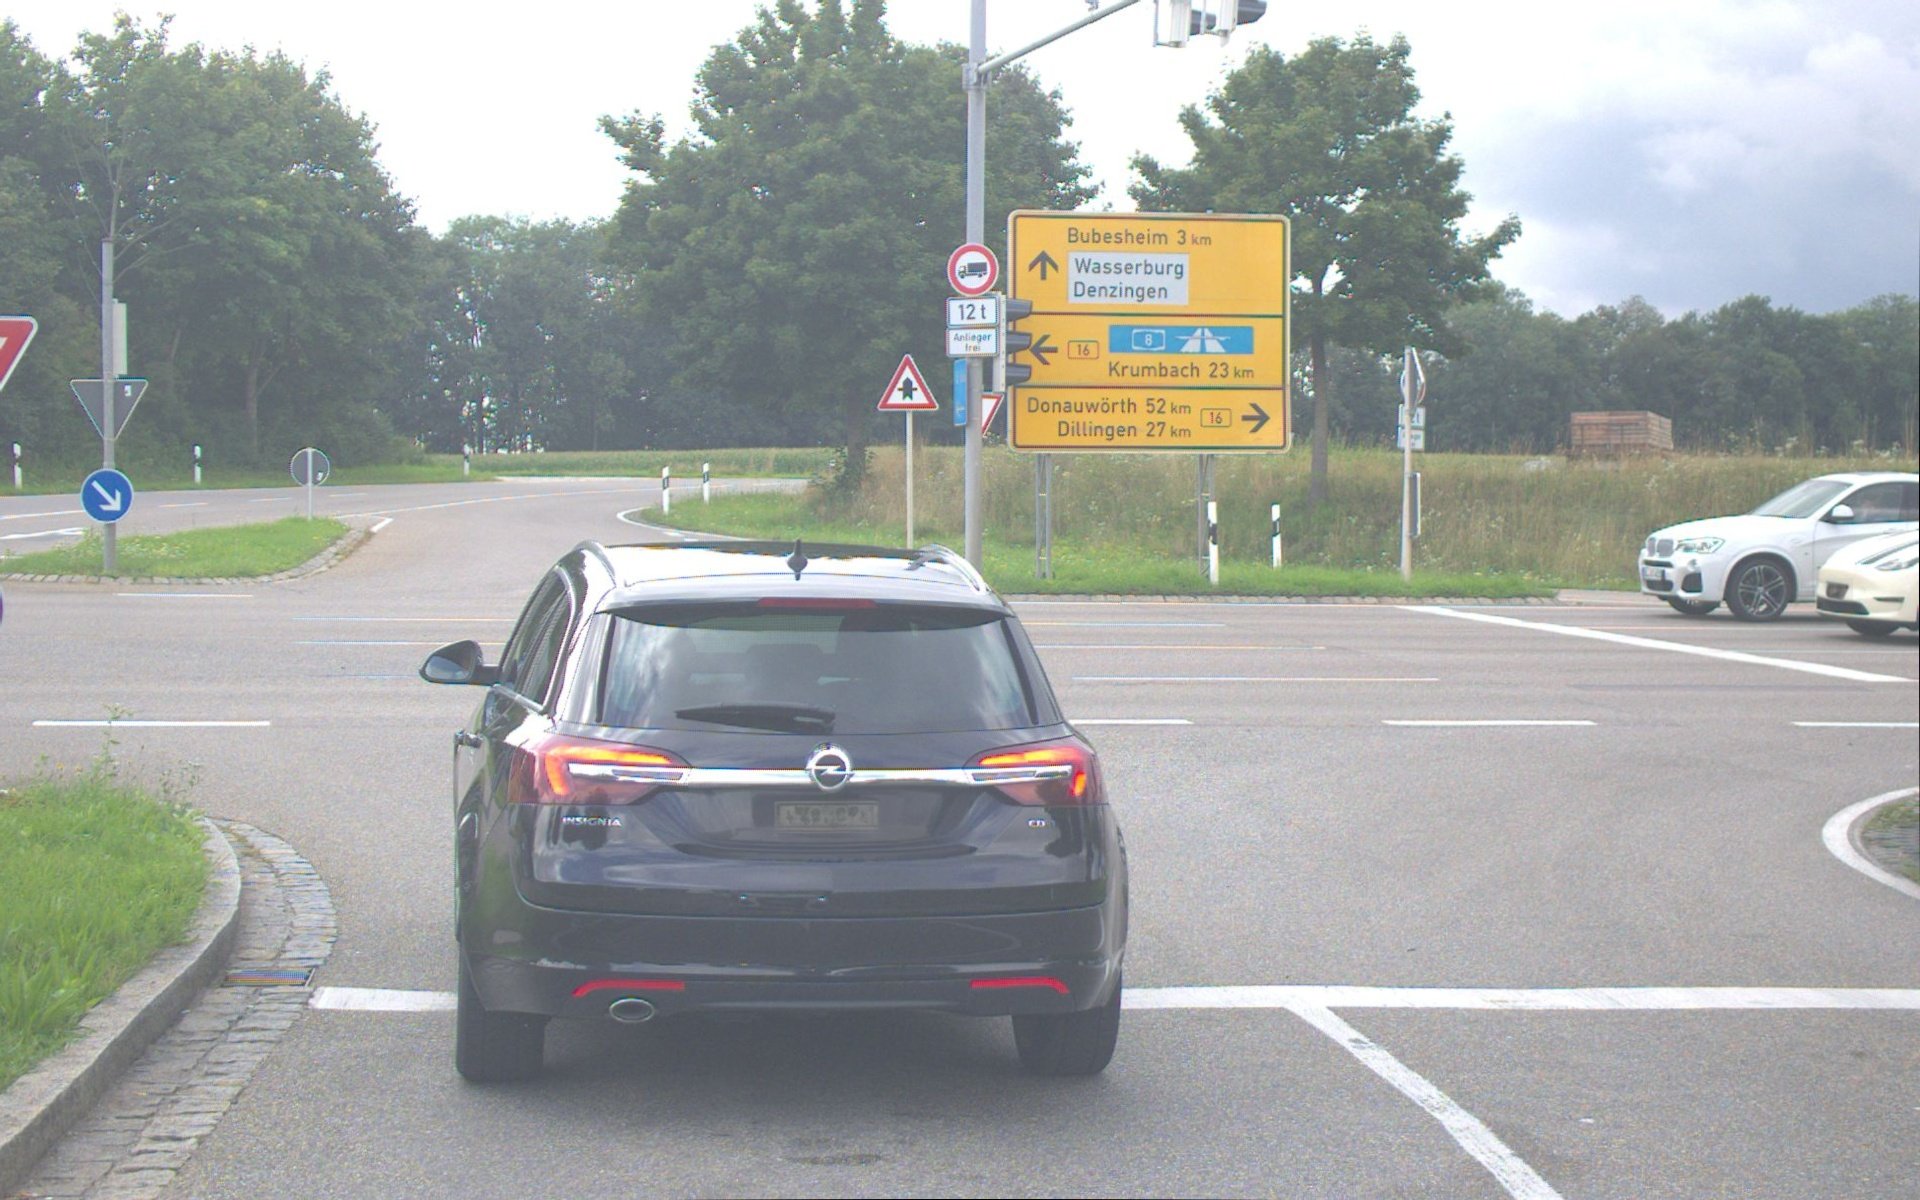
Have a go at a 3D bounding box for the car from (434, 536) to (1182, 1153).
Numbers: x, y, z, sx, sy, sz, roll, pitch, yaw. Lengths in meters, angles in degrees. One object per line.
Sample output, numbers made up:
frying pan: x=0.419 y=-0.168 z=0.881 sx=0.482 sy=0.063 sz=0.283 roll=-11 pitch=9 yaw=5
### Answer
car: x=-0.665 y=0.556 z=10.473 sx=1.807 sy=1.446 sz=4.274 roll=1 pitch=1 yaw=-8

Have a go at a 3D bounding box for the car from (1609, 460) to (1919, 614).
car: x=9.613 y=-0.693 z=38.183 sx=4.259 sy=1.623 sz=2.001 roll=0 pitch=1 yaw=-13

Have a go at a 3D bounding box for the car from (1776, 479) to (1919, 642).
car: x=10.820 y=-0.389 z=34.436 sx=4.731 sy=1.559 sz=2.001 roll=0 pitch=1 yaw=-12
